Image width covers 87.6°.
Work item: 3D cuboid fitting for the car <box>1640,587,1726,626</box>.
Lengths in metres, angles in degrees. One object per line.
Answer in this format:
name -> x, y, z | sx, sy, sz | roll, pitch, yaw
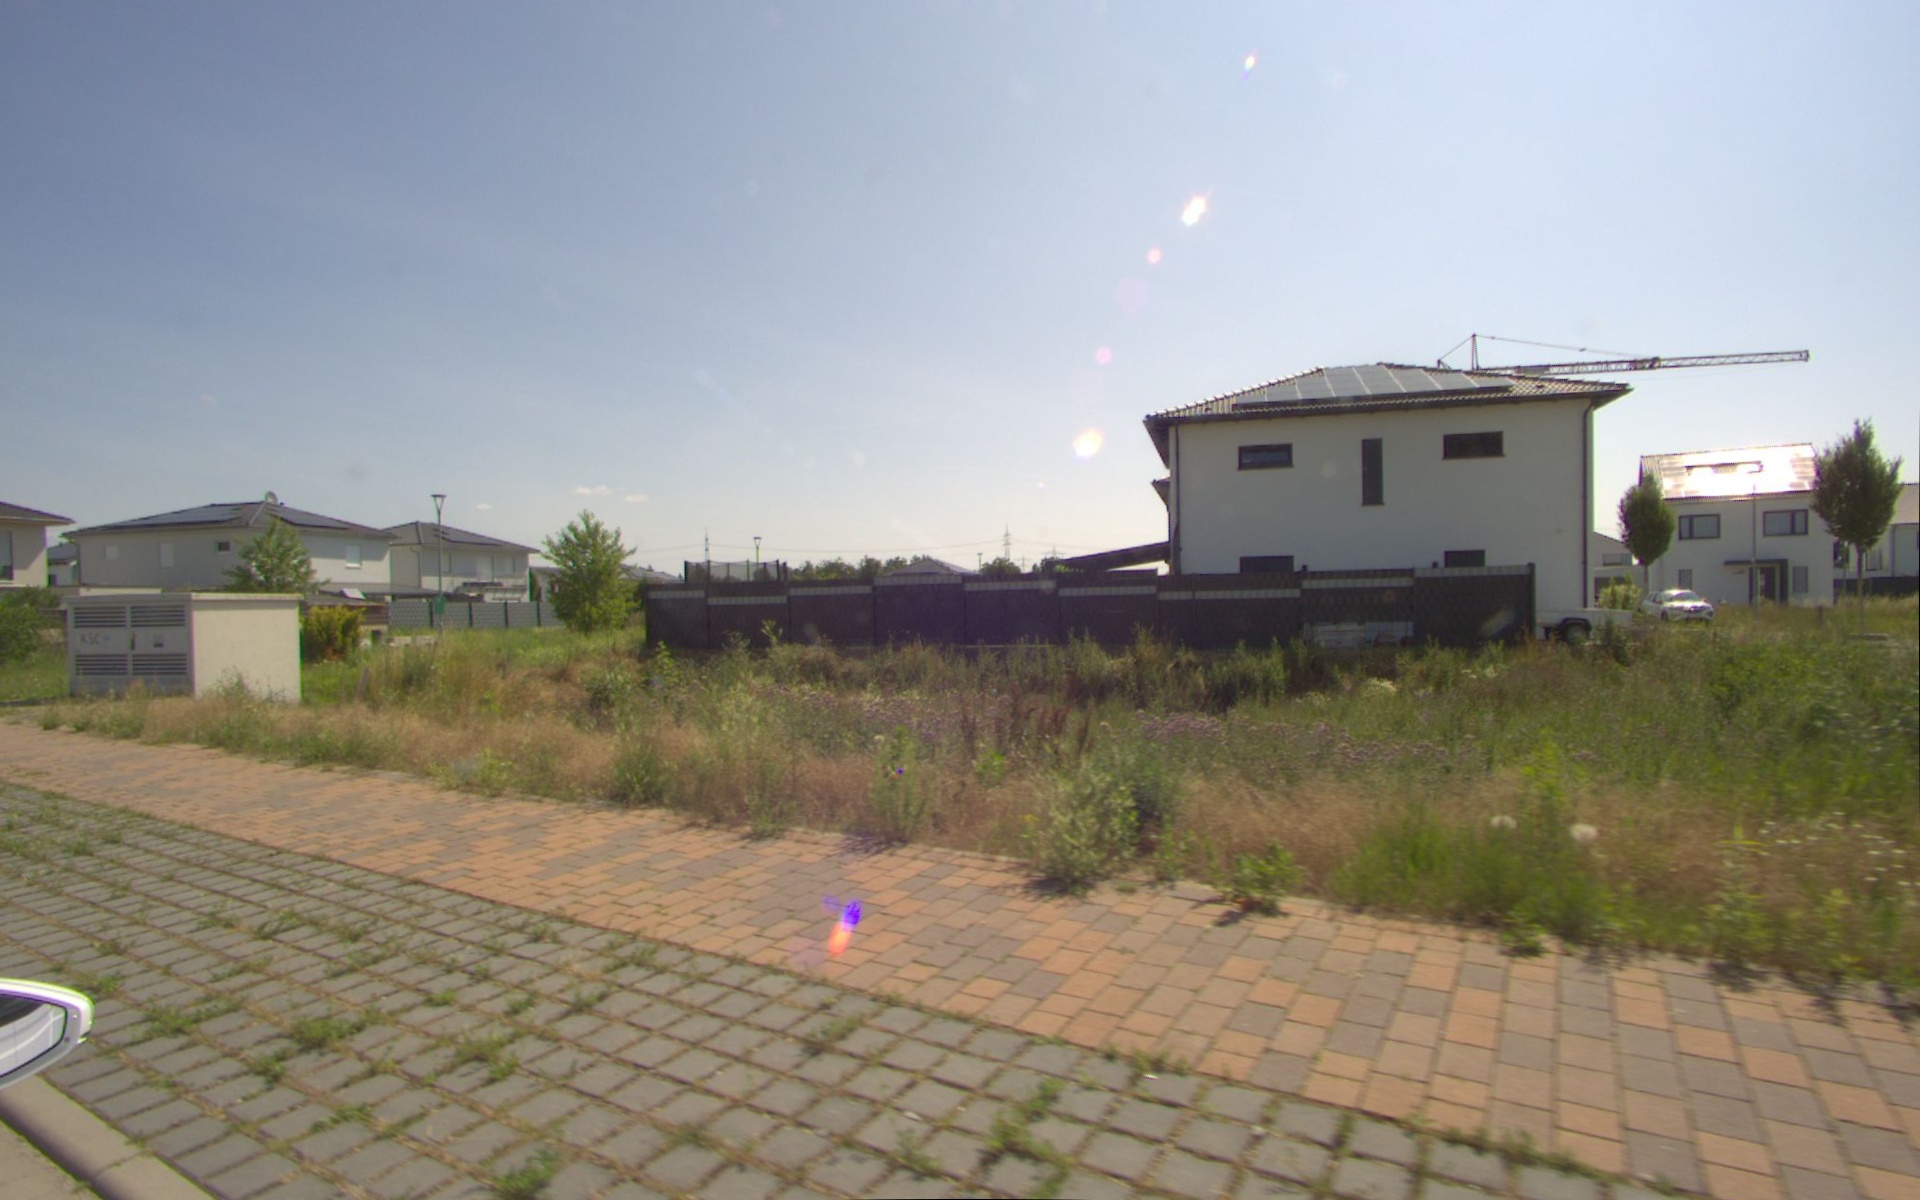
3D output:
car -> 28.498, 0.254, 39.588 | 1.712, 1.461, 3.823 | -1, 0, 19
